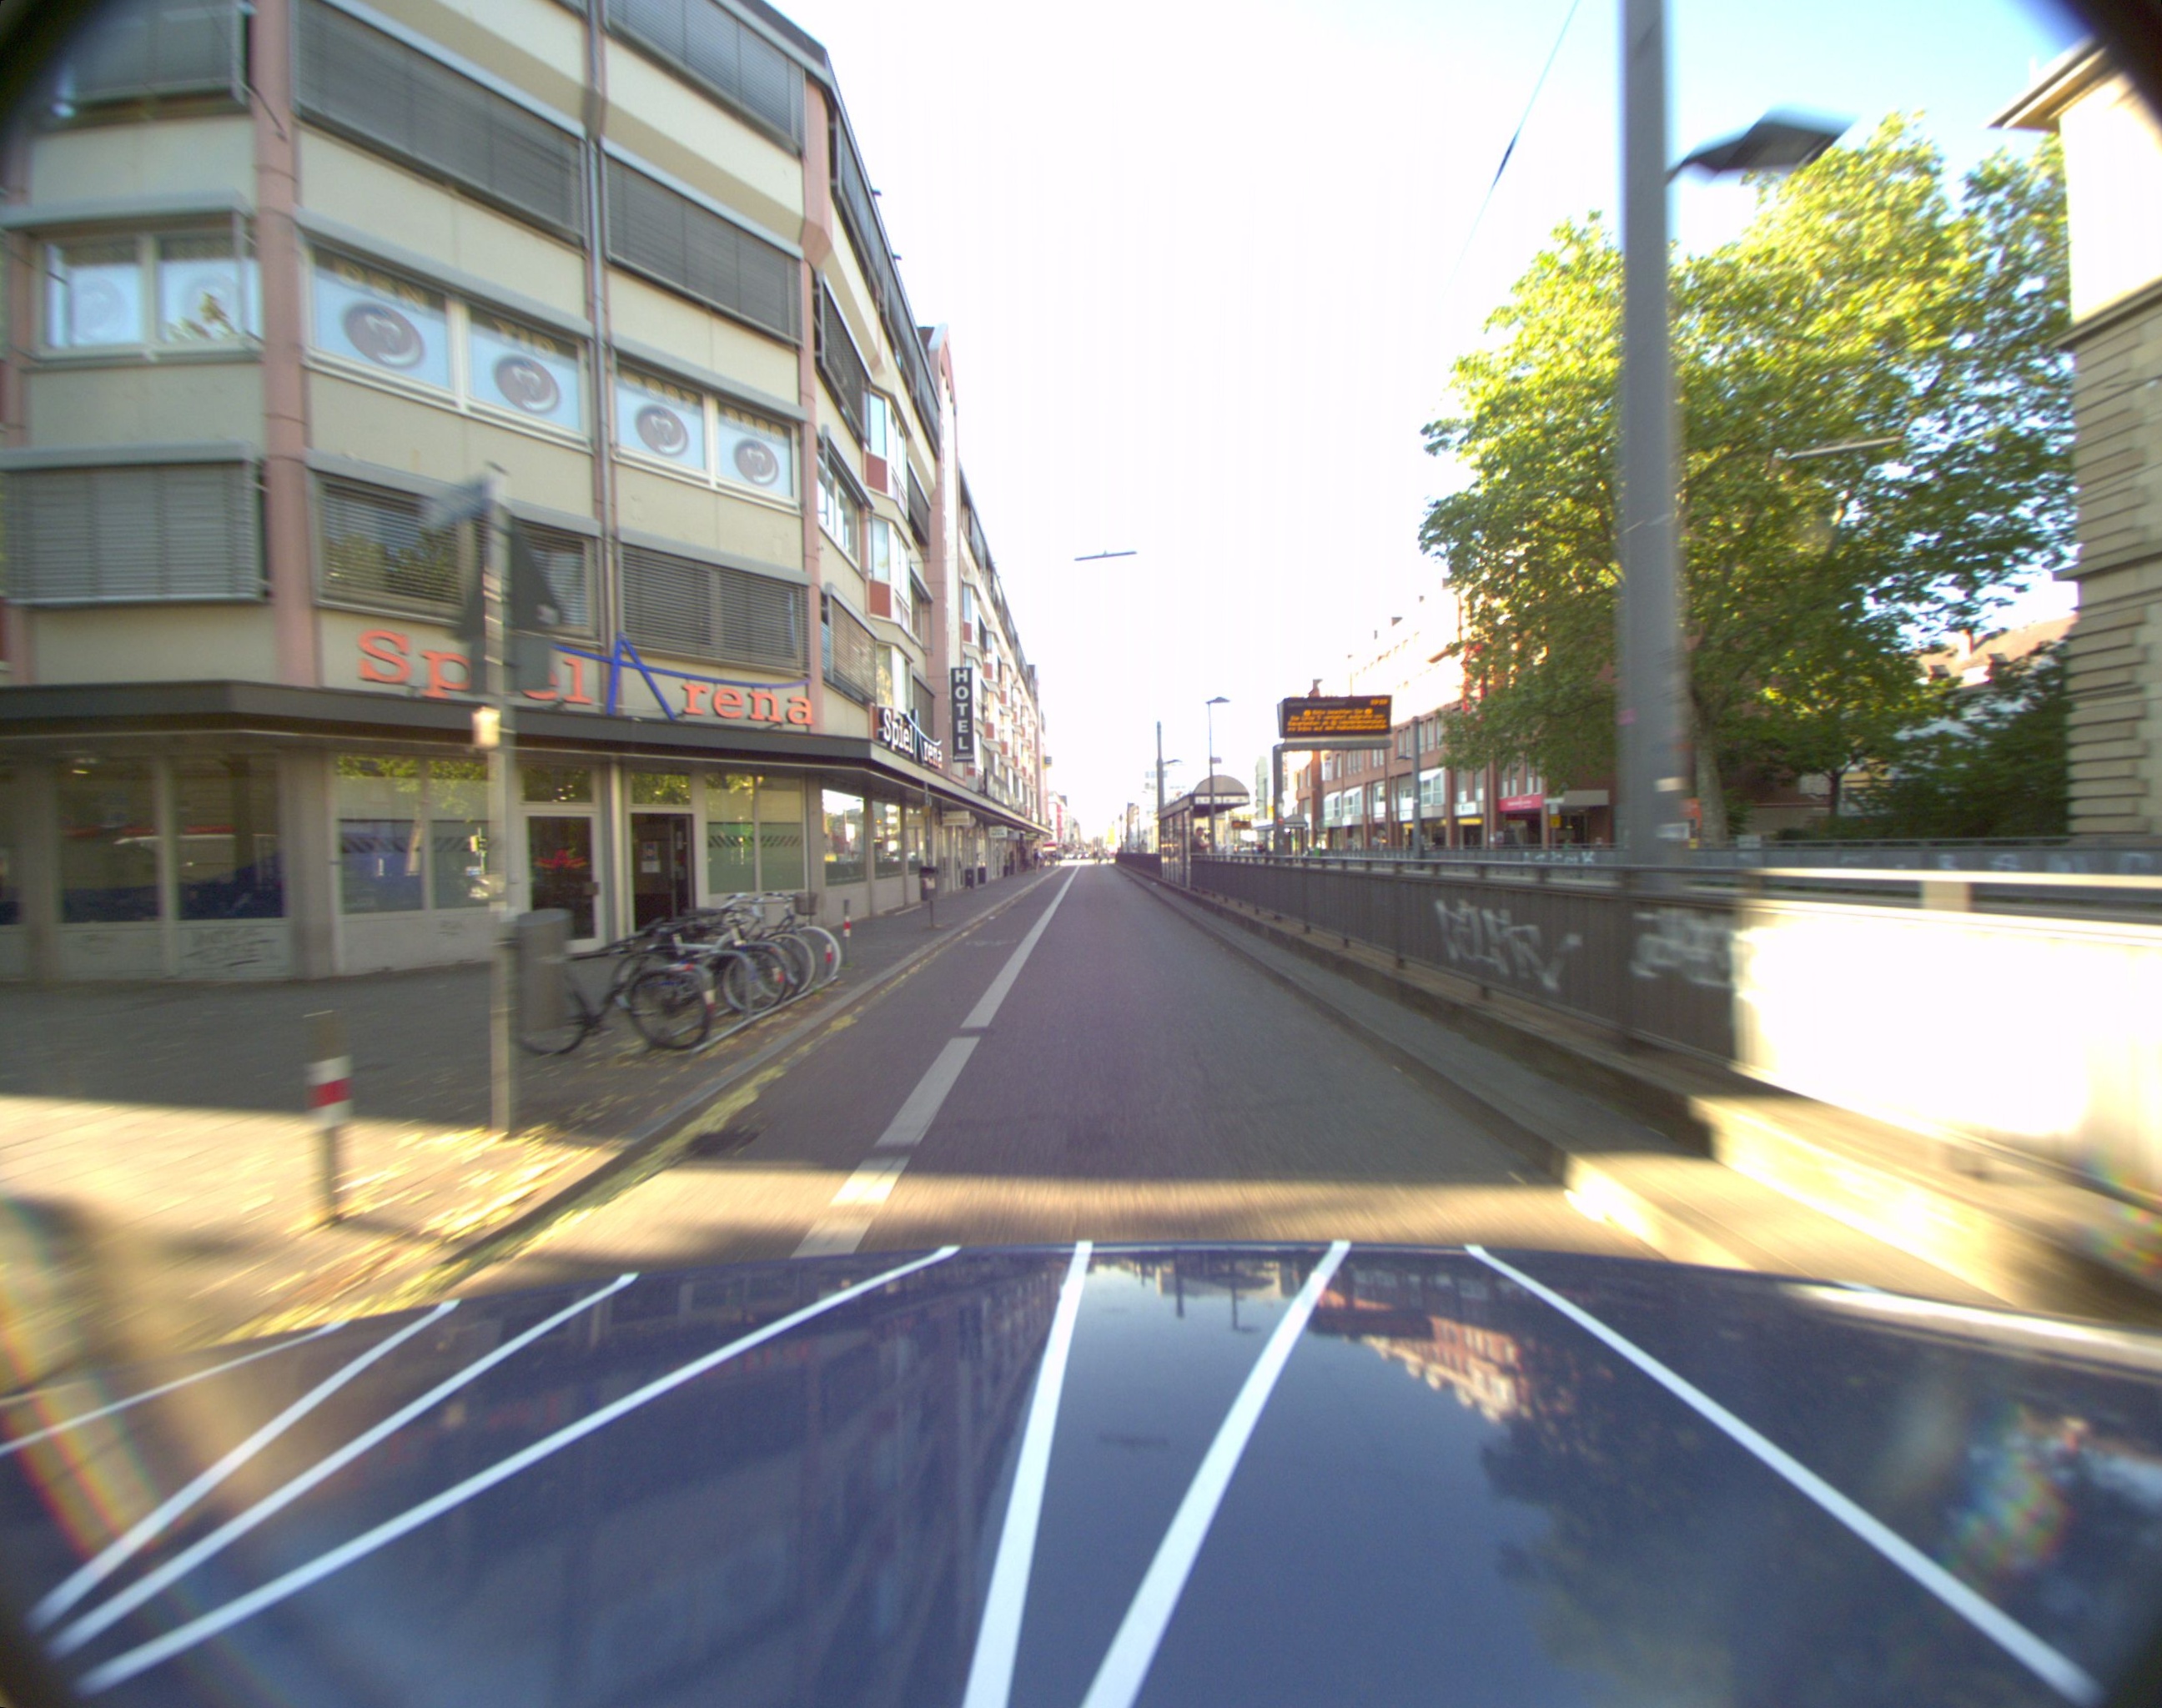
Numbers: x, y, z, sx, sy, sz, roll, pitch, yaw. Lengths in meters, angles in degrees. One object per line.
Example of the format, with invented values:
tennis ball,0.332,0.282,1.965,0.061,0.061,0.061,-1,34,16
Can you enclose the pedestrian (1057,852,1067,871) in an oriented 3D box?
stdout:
pedestrian,-1.831,0.718,73.038,0.806,1.806,0.732,-2,1,-3

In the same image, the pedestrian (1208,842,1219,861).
pedestrian,12.909,-0.282,74.075,0.860,1.757,0.811,-4,1,9

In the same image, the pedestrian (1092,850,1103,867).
pedestrian,1.808,0.477,85.474,0.812,1.793,0.859,-5,1,-28

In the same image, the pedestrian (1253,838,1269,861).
pedestrian,13.323,-0.368,56.146,0.913,1.652,0.967,-2,1,0

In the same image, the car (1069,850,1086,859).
car,-0.732,0.204,155.229,1.974,1.664,4.869,-3,0,-16

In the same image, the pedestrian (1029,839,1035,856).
pedestrian,-4.412,-0.588,67.876,0.385,1.586,0.408,1,2,21

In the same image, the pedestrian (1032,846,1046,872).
pedestrian,-2.766,0.320,50.463,0.800,1.713,1.061,1,2,2

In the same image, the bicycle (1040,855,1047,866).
bicycle,-3.561,0.634,72.299,0.678,0.971,1.842,3,1,-3

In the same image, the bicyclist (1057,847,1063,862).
bicyclist,-2.454,0.034,87.509,0.637,1.668,0.768,-2,1,-3

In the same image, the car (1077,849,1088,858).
car,0.373,-0.063,142.544,1.971,1.664,4.875,-3,0,0

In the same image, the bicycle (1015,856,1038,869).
bicycle,-4.423,0.683,61.574,1.734,0.968,0.506,1,1,5

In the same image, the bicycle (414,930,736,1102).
bicycle,-3.657,1.155,5.621,1.839,1.048,0.710,-2,1,-2

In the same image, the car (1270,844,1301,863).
car,19.614,-0.078,72.891,1.914,1.585,4.289,0,2,1

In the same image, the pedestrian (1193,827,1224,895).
pedestrian,3.259,0.177,19.490,0.624,1.702,0.850,-2,1,0

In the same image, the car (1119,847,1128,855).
car,12.838,-0.898,228.457,2.540,2.441,5.424,-3,0,6

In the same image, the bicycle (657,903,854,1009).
bicycle,-3.669,1.143,8.682,1.918,1.041,0.681,-2,1,-2

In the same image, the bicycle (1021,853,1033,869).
bicycle,-3.874,0.503,54.360,0.659,1.061,1.794,3,1,0

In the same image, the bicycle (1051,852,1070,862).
bicycle,-2.395,0.324,87.502,2.175,1.117,0.768,-2,1,-3

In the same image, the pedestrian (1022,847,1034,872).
pedestrian,-3.973,0.396,56.849,0.917,1.856,0.779,0,2,-2

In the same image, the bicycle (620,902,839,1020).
bicycle,-3.659,1.107,8.024,1.975,1.098,0.614,-1,1,-2

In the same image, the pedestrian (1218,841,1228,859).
pedestrian,13.844,-0.382,74.115,0.860,1.757,0.811,-4,1,9

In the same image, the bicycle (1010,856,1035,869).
bicycle,-4.608,0.684,60.215,1.929,1.054,0.576,0,1,0

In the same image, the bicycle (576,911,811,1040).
bicycle,-3.658,1.136,7.295,1.839,1.048,0.718,-2,1,-2

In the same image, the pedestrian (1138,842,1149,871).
pedestrian,3.906,0.129,47.763,0.584,1.781,0.606,-2,2,-1
